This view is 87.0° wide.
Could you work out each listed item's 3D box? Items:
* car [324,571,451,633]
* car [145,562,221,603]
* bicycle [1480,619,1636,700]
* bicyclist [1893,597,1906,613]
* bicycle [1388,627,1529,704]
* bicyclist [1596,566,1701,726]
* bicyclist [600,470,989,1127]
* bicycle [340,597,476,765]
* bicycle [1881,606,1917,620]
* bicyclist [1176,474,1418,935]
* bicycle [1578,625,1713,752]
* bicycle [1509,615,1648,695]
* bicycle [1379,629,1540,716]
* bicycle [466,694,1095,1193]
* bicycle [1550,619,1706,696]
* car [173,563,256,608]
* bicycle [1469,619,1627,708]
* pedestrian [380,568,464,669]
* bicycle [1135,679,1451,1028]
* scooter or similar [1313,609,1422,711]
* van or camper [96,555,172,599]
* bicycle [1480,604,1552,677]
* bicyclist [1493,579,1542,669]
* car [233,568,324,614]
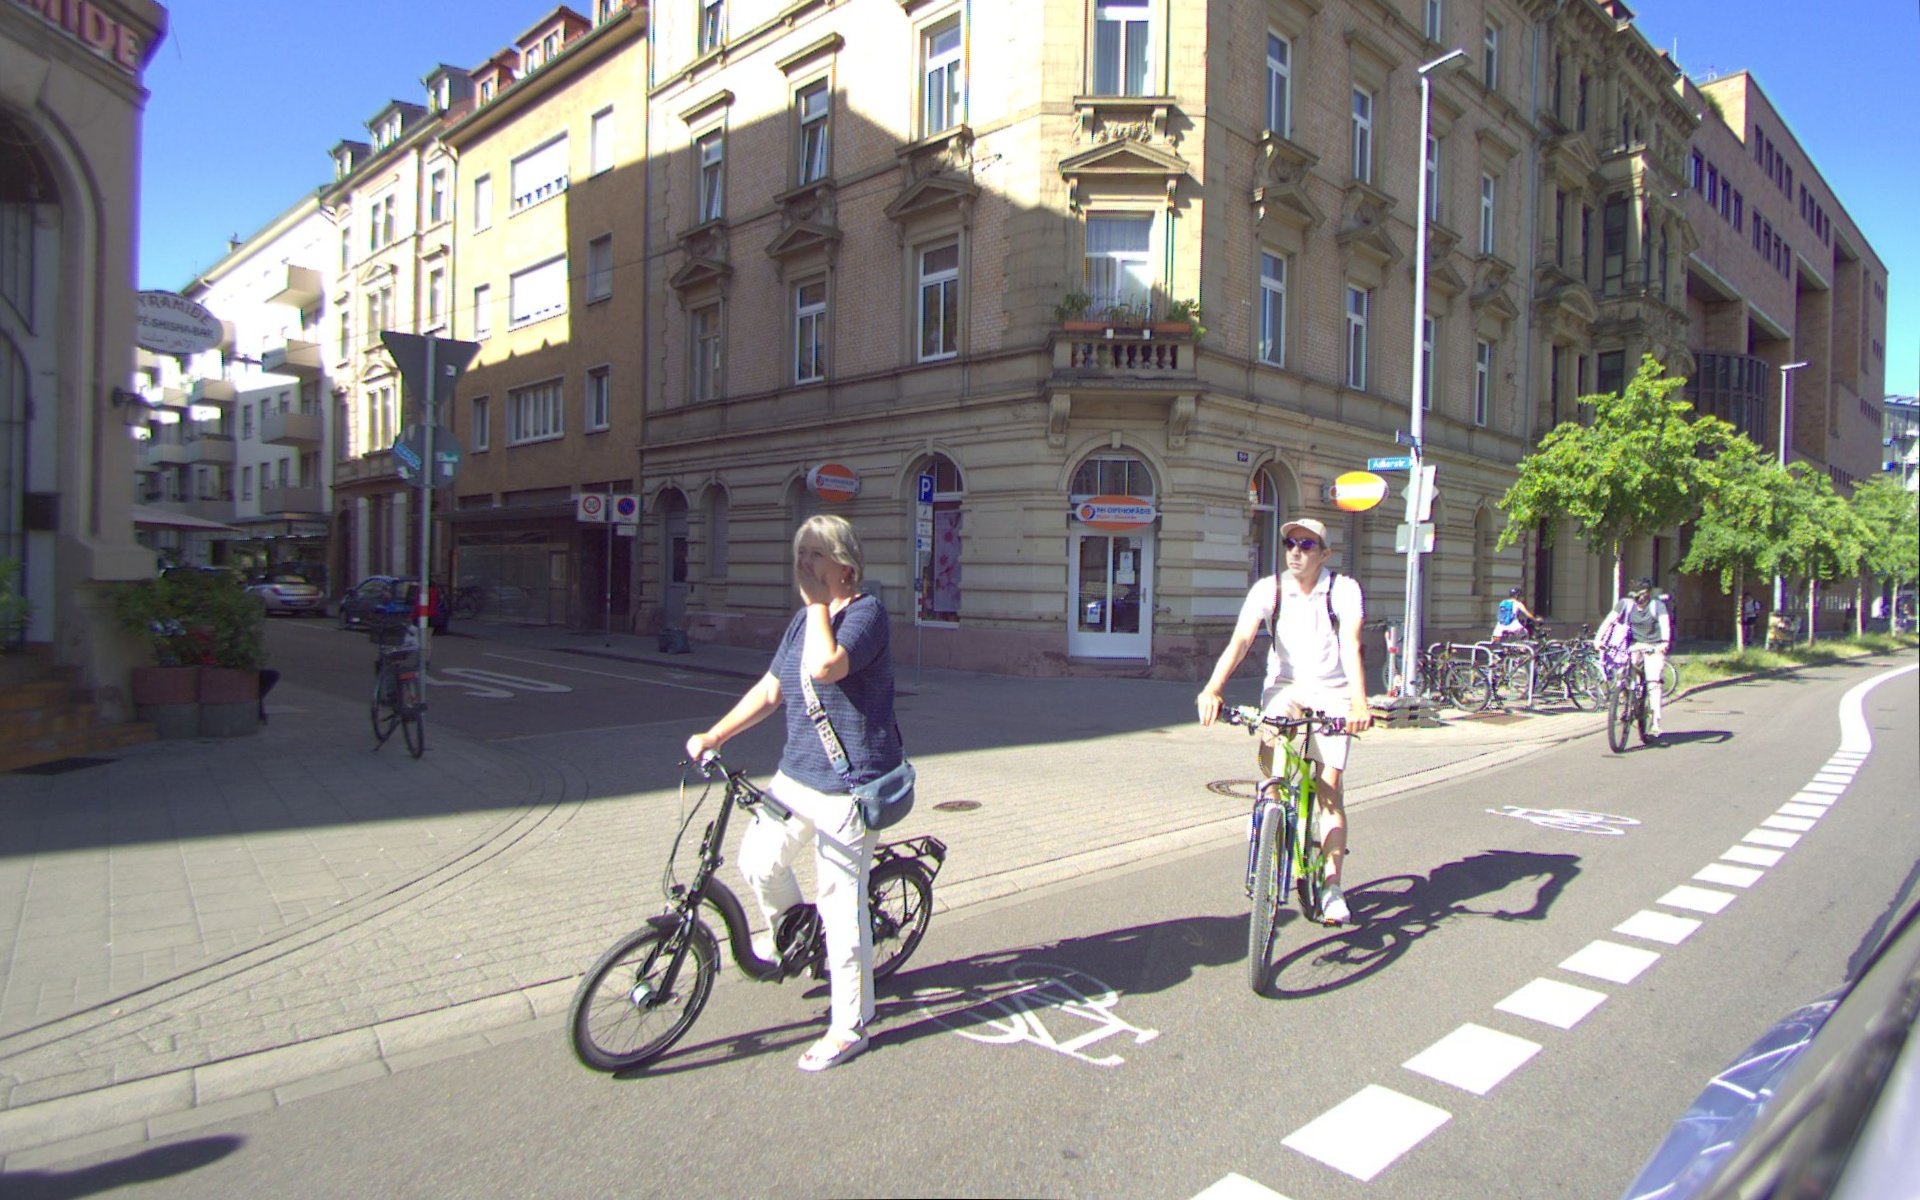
[{"bbox_3d":[-14.663,0.012,25.858,3.686,1.428,1.594,2,1,39],"label":"car"},{"bbox_3d":[-30.012,-0.671,39.063,3.425,1.424,1.605,3,0,41],"label":"car"},{"bbox_3d":[9.452,0.903,16.046,1.013,1.043,1.901,0,4,-43],"label":"bicycle"},{"bbox_3d":[83.235,0.433,89.651,0.825,1.439,0.858,1,0,-44],"label":"bicyclist"},{"bbox_3d":[6.987,0.895,14.255,0.488,0.937,1.716,0,1,-40],"label":"bicycle"},{"bbox_3d":[7.387,0.466,10.854,0.879,1.625,0.724,1,-1,-41],"label":"bicyclist"},{"bbox_3d":[-0.545,0.526,3.345,0.971,1.749,0.853,1,-1,-41],"label":"bicyclist"},{"bbox_3d":[-4.975,0.655,9.039,0.801,1.247,2.221,4,-1,-34],"label":"bicycle"},{"bbox_3d":[83.198,1.156,89.682,0.837,1.139,2.270,0,0,-44],"label":"bicycle"},{"bbox_3d":[1.447,0.379,4.292,0.697,1.678,0.964,0,-1,38],"label":"bicyclist"},{"bbox_3d":[7.356,0.887,10.825,1.918,1.209,0.724,0,-1,-41],"label":"bicycle"},{"bbox_3d":[10.267,0.877,16.827,1.115,1.074,1.677,0,5,-42],"label":"bicycle"},{"bbox_3d":[6.683,0.942,13.652,0.580,0.922,1.911,0,3,-32],"label":"bicycle"},{"bbox_3d":[-0.498,0.908,3.369,1.918,1.019,0.829,0,0,-41],"label":"bicycle"},{"bbox_3d":[11.505,0.960,17.497,0.833,1.054,2.062,0,4,-41],"label":"bicycle"},{"bbox_3d":[-26.255,-0.529,35.621,3.425,1.424,1.605,3,0,41],"label":"car"},{"bbox_3d":[8.561,0.896,14.800,0.598,1.061,1.873,0,4,-45],"label":"bicycle"},{"bbox_3d":[-8.798,0.281,16.560,0.824,1.594,0.901,0,0,22],"label":"pedestrian"},{"bbox_3d":[1.532,0.931,4.401,0.721,1.019,1.926,0,0,37],"label":"bicycle"},{"bbox_3d":[5.243,0.745,13.050,0.479,1.213,1.197,1,1,-45],"label":"scooter or similar"},{"bbox_3d":[-37.860,-1.067,46.352,4.527,1.867,1.857,3,0,41],"label":"van or camper"},{"bbox_3d":[10.527,0.730,19.122,2.062,1.268,0.578,-1,2,-43],"label":"bicycle"},{"bbox_3d":[10.536,0.432,19.113,0.781,1.637,0.578,0,1,-43],"label":"bicyclist"},{"bbox_3d":[-21.125,-0.300,31.322,3.376,1.338,1.604,1,1,42],"label":"car"}]
